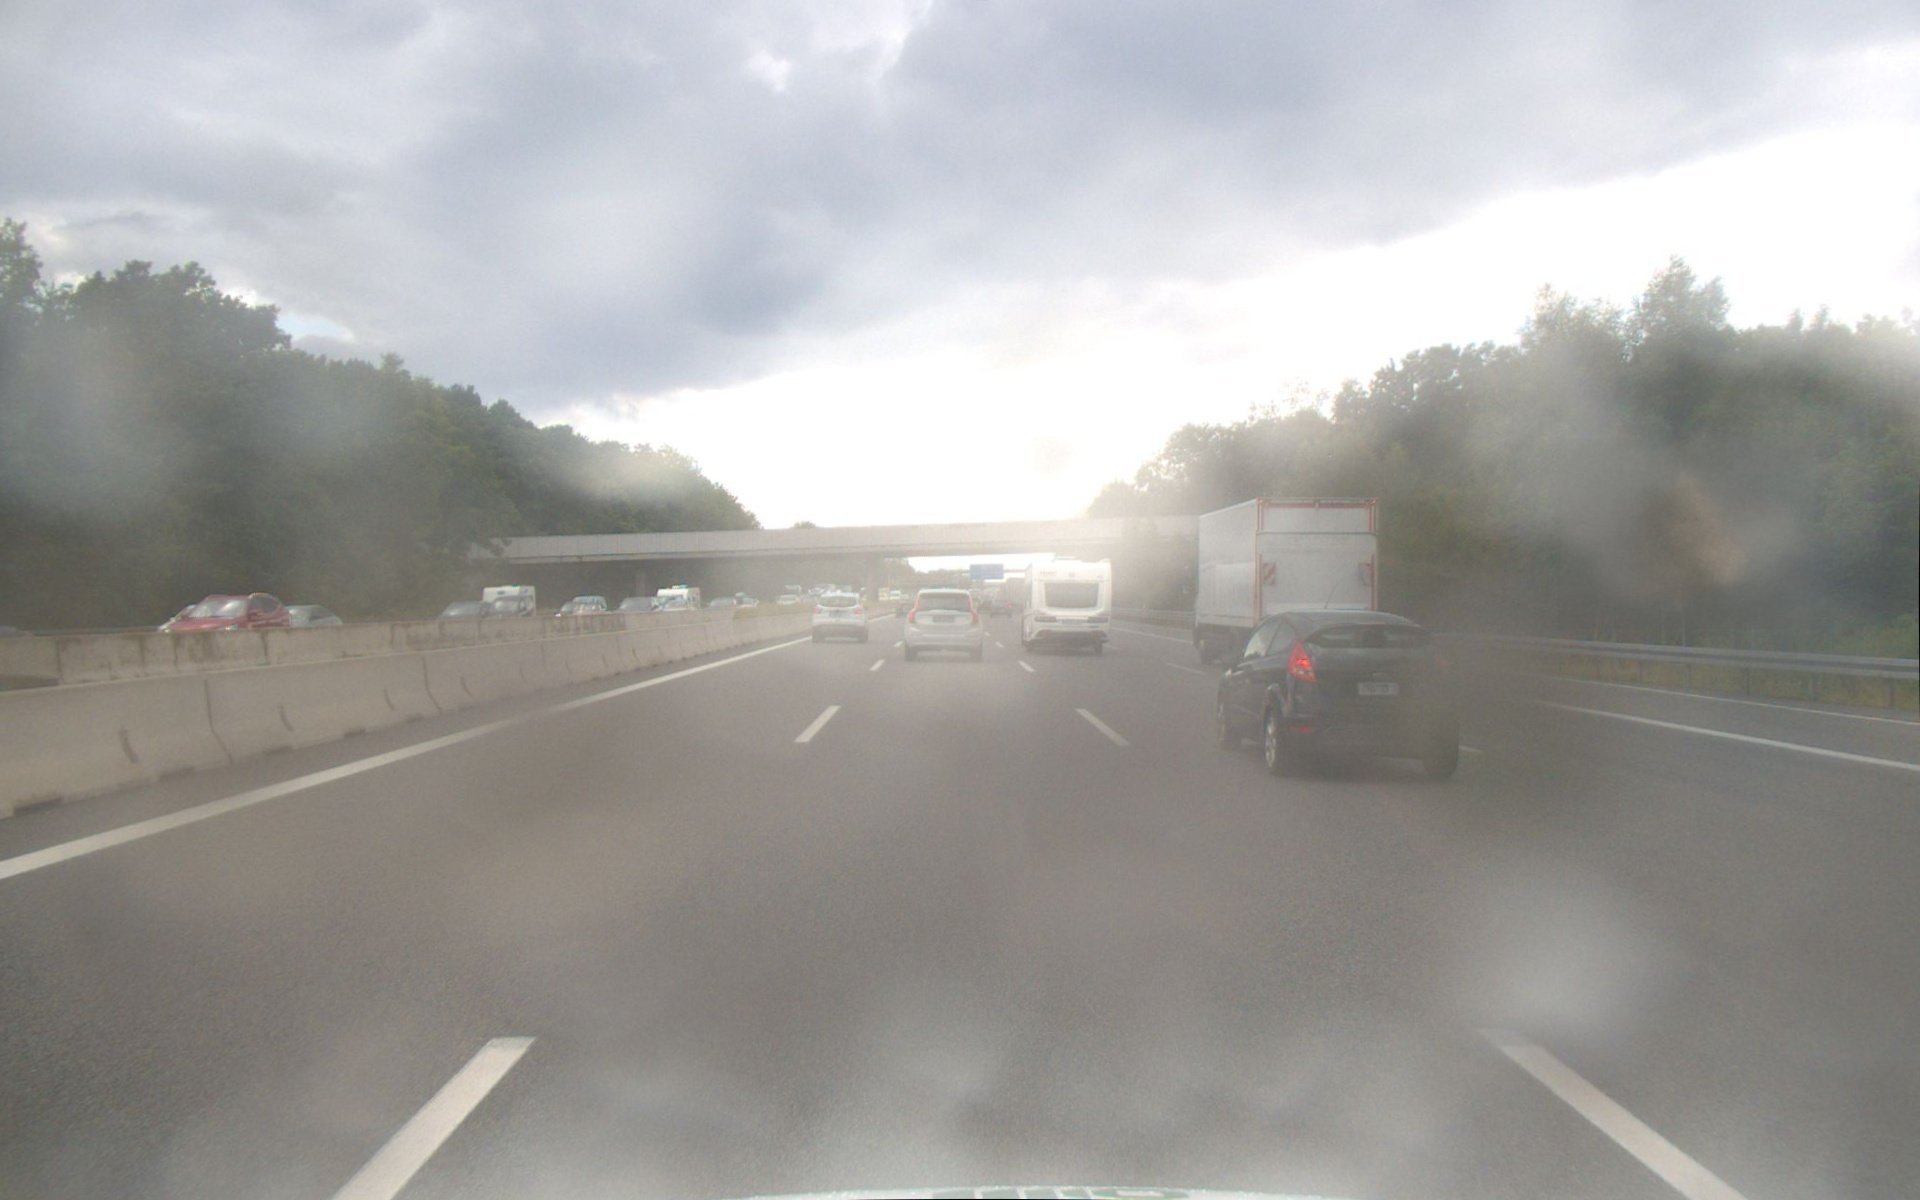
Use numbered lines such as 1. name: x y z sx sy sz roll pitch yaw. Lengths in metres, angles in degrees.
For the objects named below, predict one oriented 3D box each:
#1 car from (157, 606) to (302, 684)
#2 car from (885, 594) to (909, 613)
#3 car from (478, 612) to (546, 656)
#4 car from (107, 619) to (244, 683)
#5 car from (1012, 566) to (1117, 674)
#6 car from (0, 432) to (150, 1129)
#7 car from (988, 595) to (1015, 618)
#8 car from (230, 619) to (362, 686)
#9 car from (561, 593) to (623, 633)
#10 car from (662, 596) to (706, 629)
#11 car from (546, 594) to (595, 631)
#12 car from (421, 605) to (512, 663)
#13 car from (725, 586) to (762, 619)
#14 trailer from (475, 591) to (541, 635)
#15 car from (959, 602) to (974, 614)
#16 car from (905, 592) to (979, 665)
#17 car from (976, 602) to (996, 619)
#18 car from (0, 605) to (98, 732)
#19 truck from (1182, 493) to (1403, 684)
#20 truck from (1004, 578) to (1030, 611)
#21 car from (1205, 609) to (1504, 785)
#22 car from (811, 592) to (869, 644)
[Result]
1. car: -17.760 1.047 40.440 1.644 1.776 4.336 0 0 -1
2. car: -4.996 0.252 131.600 1.744 1.507 4.352 0 0 -1
3. car: -21.859 1.625 80.924 1.953 1.986 5.224 0 0 0
4. car: -26.622 1.690 56.369 2.196 1.986 5.224 0 0 0
5. car: 2.980 0.542 49.102 2.515 2.946 7.532 0 0 -1
6. car: -3.494 0.475 2.602 1.953 1.852 5.161 0 0 -1
7. car: 3.365 0.496 135.354 2.002 1.855 4.903 0 0 0
8. car: -21.549 1.654 53.955 2.196 1.986 5.224 0 0 0
9. car: -18.534 0.634 83.513 1.953 1.986 5.224 0 0 0
10. car: -18.351 0.795 110.175 1.953 2.118 5.647 0 0 0
11. car: -22.009 0.684 93.595 1.780 2.049 4.000 0 0 0
12. car: -18.405 1.216 61.909 1.953 2.049 4.764 0 0 0
13. car: -15.121 0.174 115.786 1.953 2.219 5.288 0 0 0
14. trailer: -25.636 0.708 94.091 2.196 2.416 5.783 0 0 0
15. car: 0.936 1.189 243.465 1.844 1.715 3.997 0 0 -4
16. car: -0.435 0.675 41.775 1.744 1.746 4.352 0 0 0
17. car: 2.784 1.125 179.080 2.002 1.855 4.903 0 0 0
18. car: -13.280 0.892 21.857 1.694 1.624 3.999 0 0 -1
19. truck: 7.271 -0.231 37.787 3.069 3.774 9.847 0 0 0
20. truck: 6.898 -0.657 200.404 2.846 3.876 7.273 0 0 0
21. car: 3.628 0.827 16.013 1.846 1.431 4.282 0 0 0
22. car: -4.145 0.594 57.624 1.778 1.719 4.850 0 0 -2
